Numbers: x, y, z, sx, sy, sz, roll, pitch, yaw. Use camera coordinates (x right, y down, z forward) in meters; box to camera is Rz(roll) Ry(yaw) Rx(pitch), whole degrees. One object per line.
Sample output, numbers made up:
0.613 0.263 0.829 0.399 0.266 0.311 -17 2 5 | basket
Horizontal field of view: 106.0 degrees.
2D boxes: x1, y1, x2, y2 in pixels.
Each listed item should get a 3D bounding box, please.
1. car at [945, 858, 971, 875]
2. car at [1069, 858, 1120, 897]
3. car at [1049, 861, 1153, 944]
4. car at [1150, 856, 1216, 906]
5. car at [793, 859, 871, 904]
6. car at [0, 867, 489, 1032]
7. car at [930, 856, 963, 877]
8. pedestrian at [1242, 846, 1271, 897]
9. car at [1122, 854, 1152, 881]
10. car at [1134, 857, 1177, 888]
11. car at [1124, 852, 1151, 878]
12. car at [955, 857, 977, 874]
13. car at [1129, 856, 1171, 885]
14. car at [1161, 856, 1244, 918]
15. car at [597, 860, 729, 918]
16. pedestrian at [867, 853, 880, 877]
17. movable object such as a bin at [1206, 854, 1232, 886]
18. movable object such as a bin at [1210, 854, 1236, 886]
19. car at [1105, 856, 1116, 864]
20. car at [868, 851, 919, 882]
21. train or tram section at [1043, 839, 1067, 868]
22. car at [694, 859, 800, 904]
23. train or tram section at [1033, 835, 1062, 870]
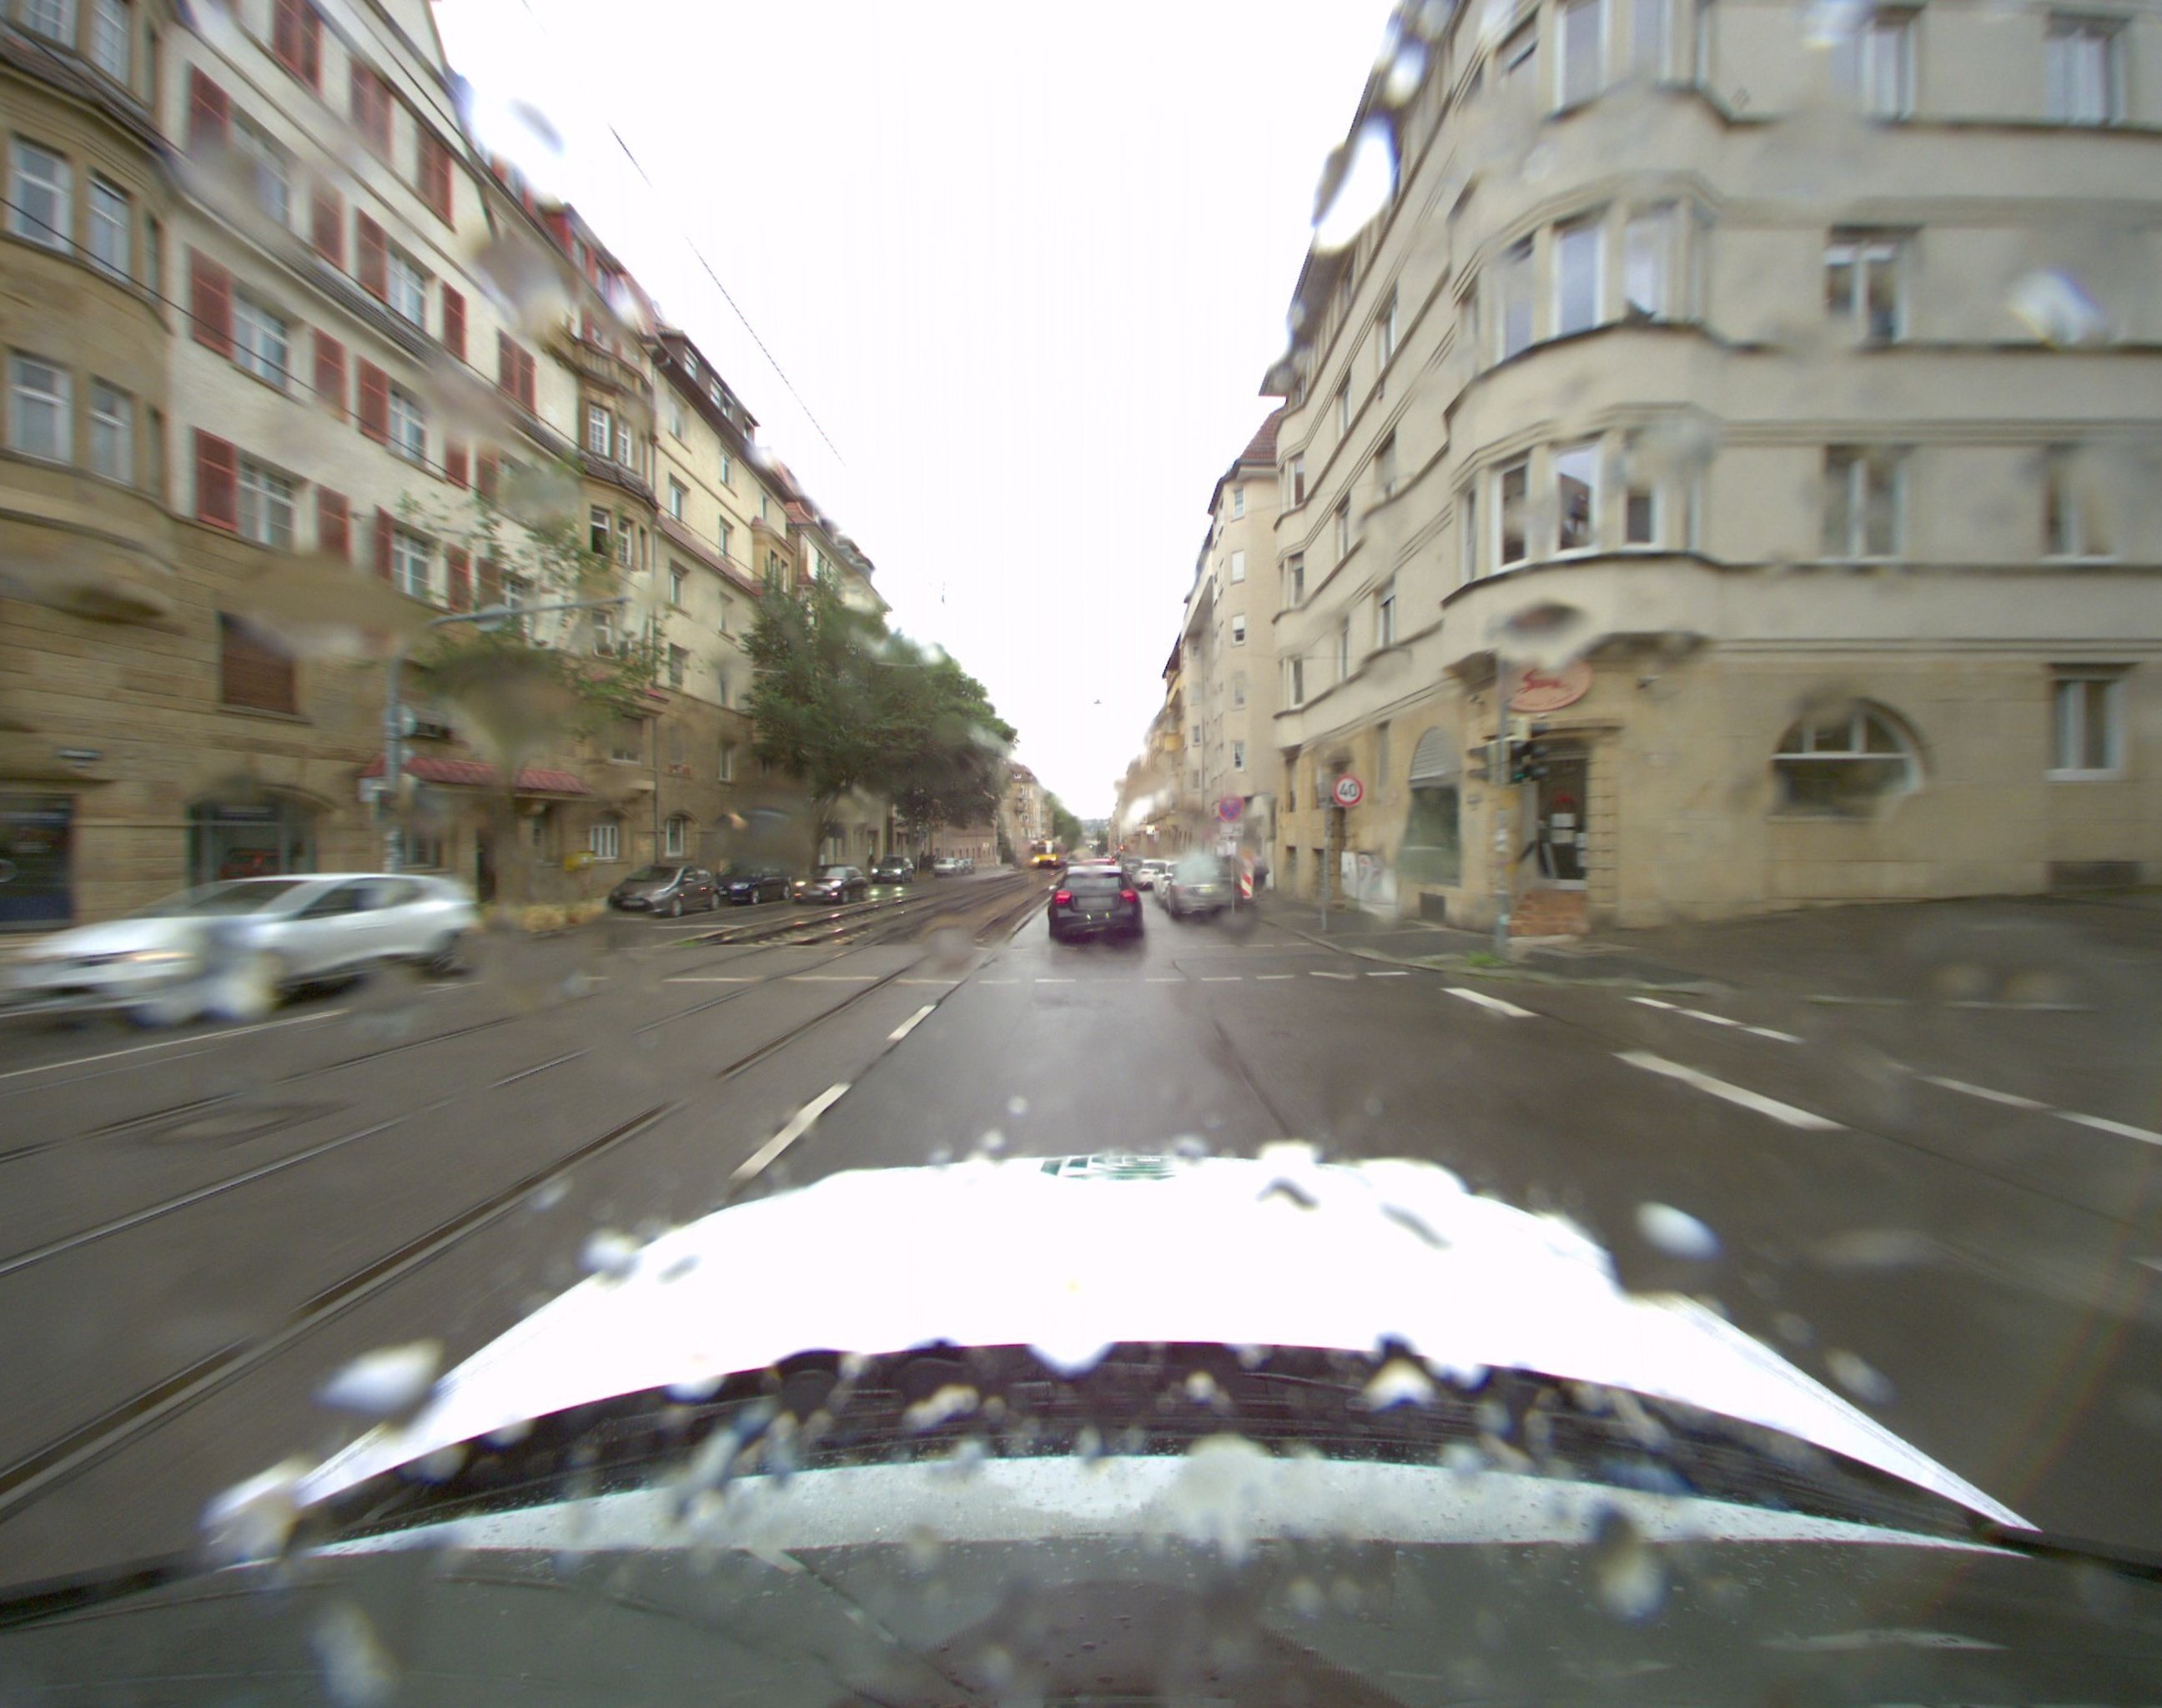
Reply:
-10.929 1.086 72.616 1.661 1.415 3.688 0 0 1 | car
0.579 0.921 33.439 1.986 1.525 4.247 0 -1 2 | car
0.404 0.869 16.357 1.828 1.453 3.903 -1 -1 2 | car
3.258 0.856 26.747 1.706 1.468 4.775 -1 -1 2 | car
-8.949 0.950 29.548 1.648 1.463 3.733 -2 0 0 | car
-9.382 0.926 9.633 1.775 1.503 4.061 -1 -1 0 | car
-11.093 1.004 67.559 1.954 1.605 4.328 0 0 0 | car
5.948 0.599 27.643 0.801 1.687 0.754 -1 -1 0 | pedestrian
3.585 0.879 52.407 1.833 1.608 4.764 -1 -1 4 | car
3.598 0.895 39.808 1.783 1.385 4.395 -1 -1 1 | car
4.002 0.819 58.463 1.771 1.750 4.550 -1 -1 2 | car
-10.788 1.060 76.380 1.567 1.467 3.044 0 0 0 | car
3.716 0.900 44.478 1.826 1.468 4.373 -1 -1 -1 | car
3.072 0.809 21.381 1.703 1.410 4.821 -1 -1 3 | car
-12.042 0.960 23.778 1.684 1.529 4.175 -1 -1 0 | car
-14.573 0.785 57.204 0.726 1.663 0.771 0 -1 1 | pedestrian
6.587 0.763 39.043 1.014 1.468 1.323 -1 -1 1 | movable object such as a bin
6.525 0.738 37.547 0.976 1.468 1.273 -1 -1 1 | movable object such as a bin
5.441 1.099 151.195 1.879 1.525 4.249 0 -1 3 | car
-11.505 0.747 50.293 1.947 1.742 4.778 2 0 0 | car
-3.765 -0.037 120.625 2.736 4.062 15.661 -1 0 1 | train or tram section
-11.860 0.936 29.334 1.775 1.460 4.977 -1 -1 0 | car
-4.101 -0.166 104.132 2.736 4.062 17.215 -1 0 1 | train or tram section
